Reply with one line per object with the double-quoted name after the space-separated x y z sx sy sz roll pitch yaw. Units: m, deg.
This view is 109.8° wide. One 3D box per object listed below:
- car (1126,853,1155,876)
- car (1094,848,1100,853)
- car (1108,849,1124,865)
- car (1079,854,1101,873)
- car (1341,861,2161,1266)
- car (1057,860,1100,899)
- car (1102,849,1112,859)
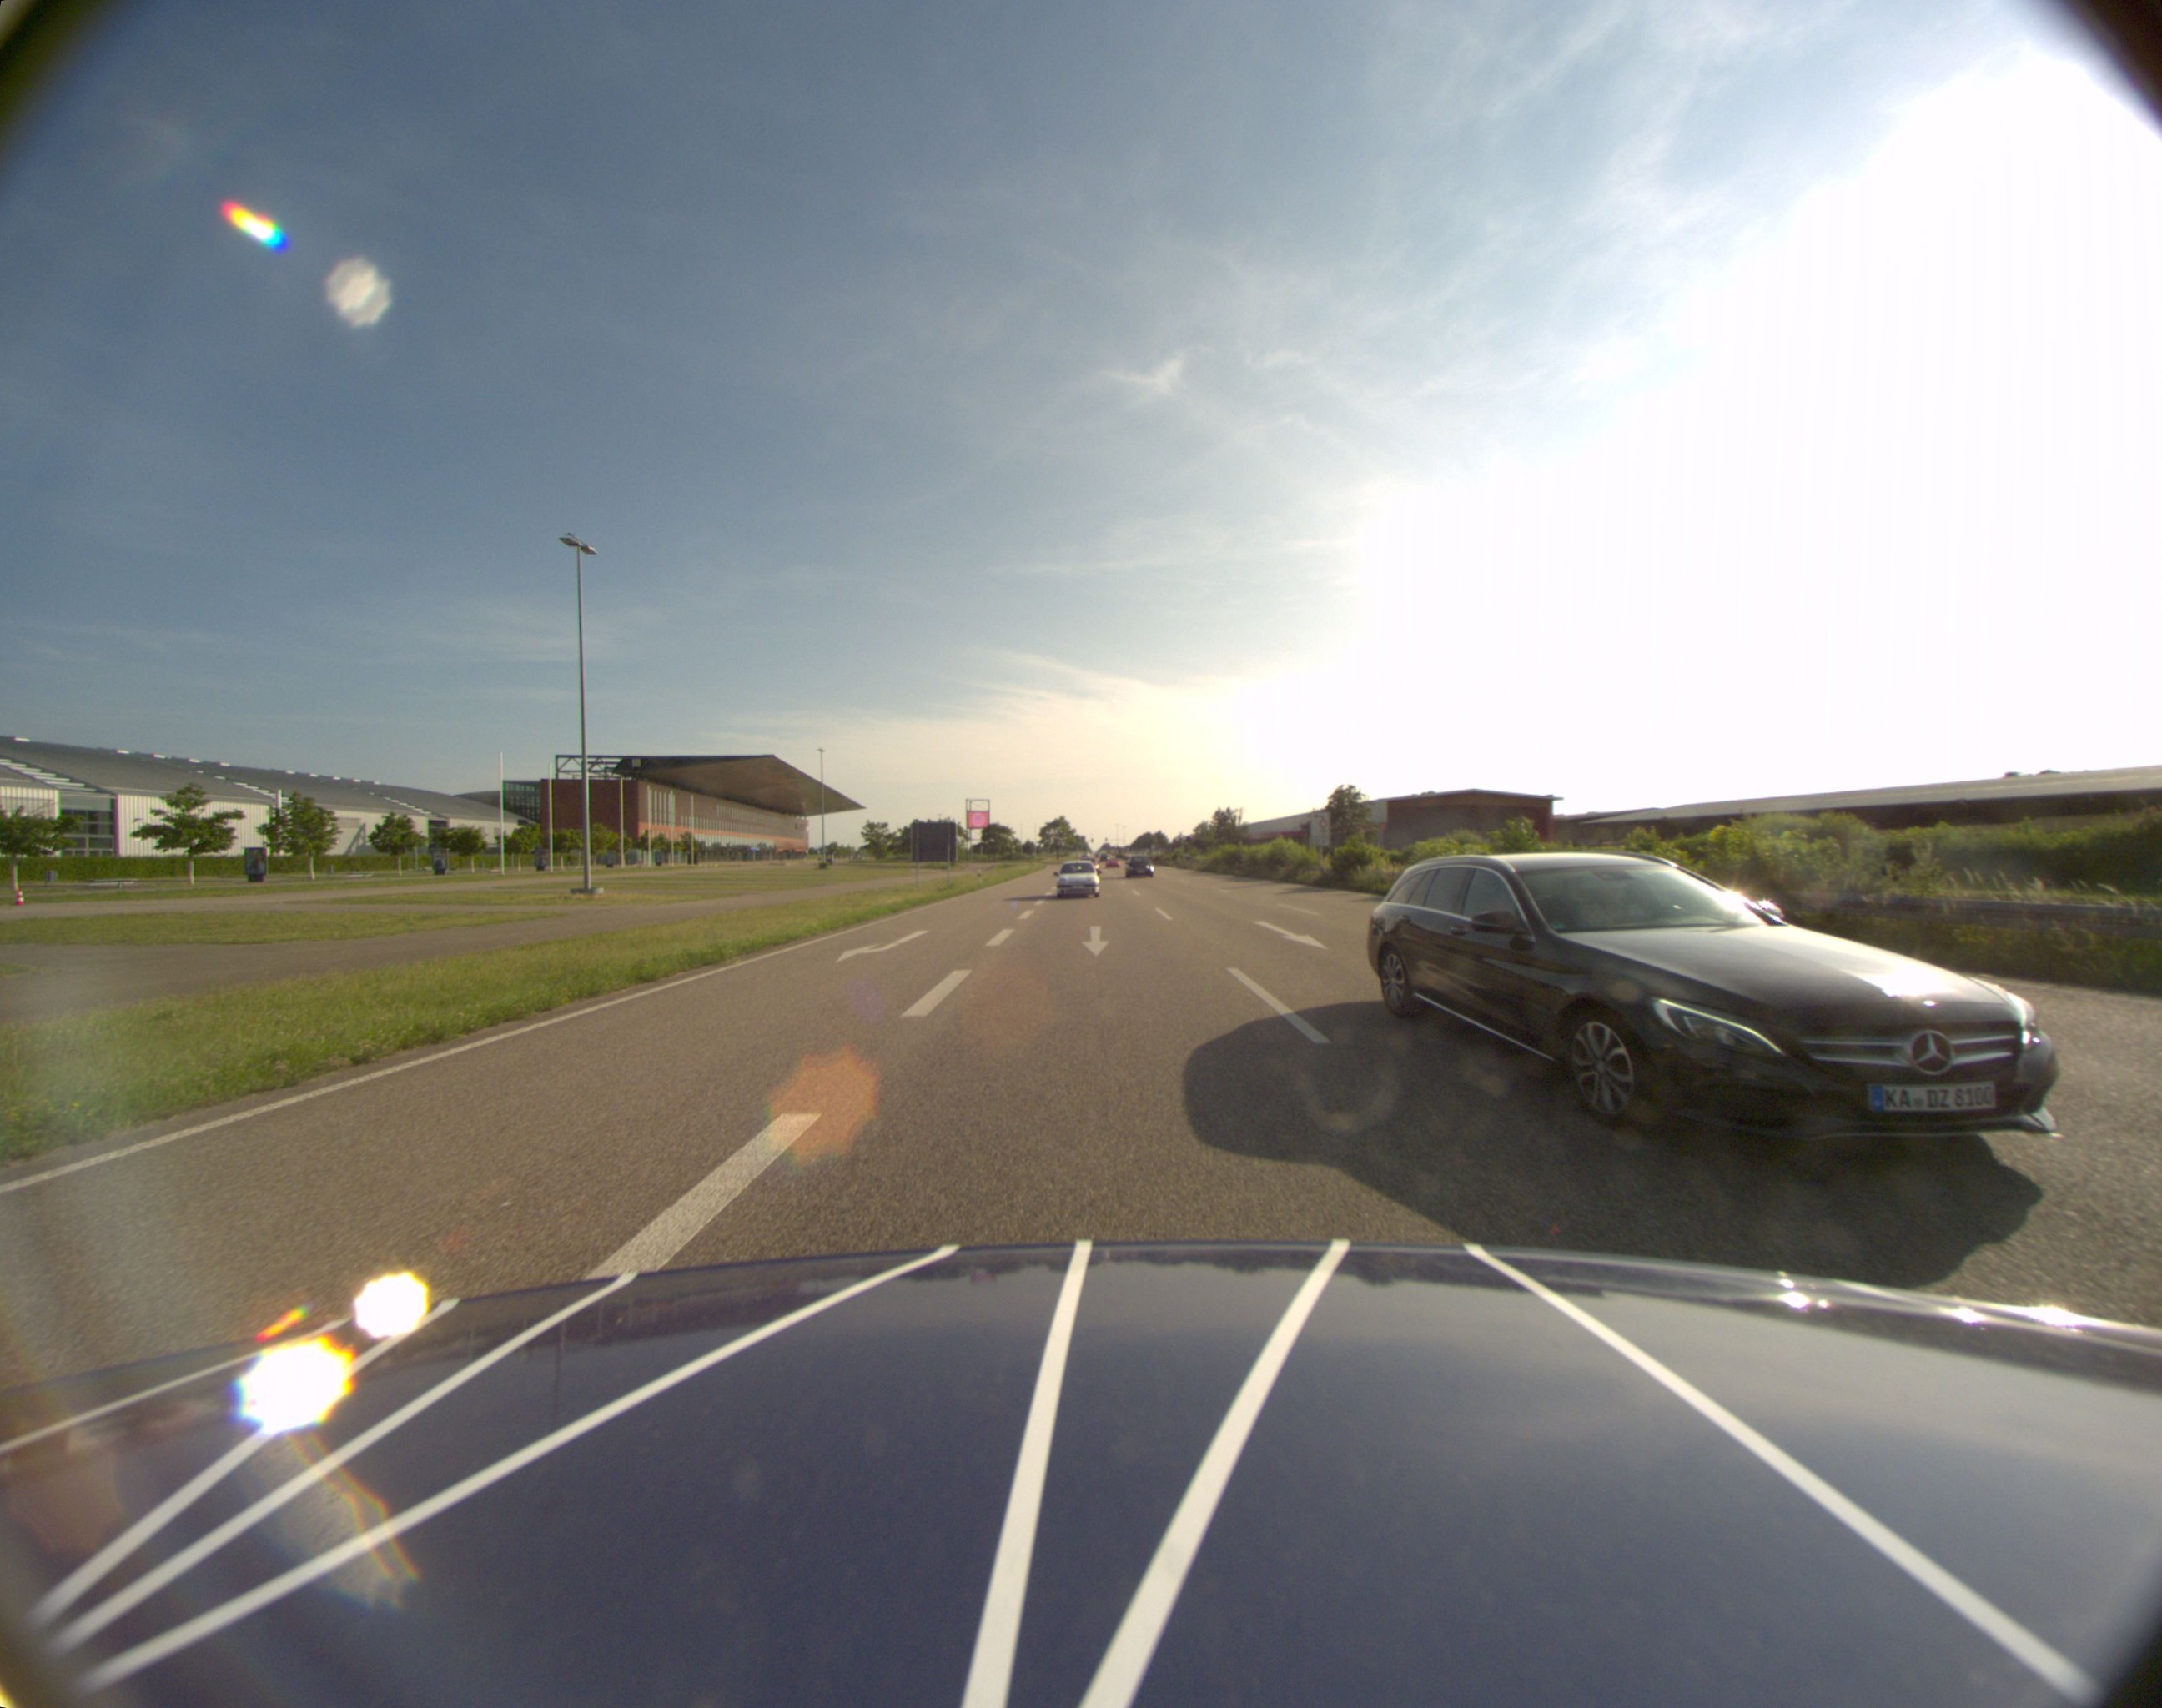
4.112 0.716 52.840 1.758 1.499 3.422 -1 0 0 "car"
5.129 -1.060 240.377 1.998 1.674 4.000 -1 1 1 "car"
4.370 0.369 95.909 1.799 1.926 4.000 -1 1 1 "car"
0.776 0.803 65.181 1.751 1.512 3.739 -1 0 1 "car"
3.477 0.843 5.447 1.576 1.462 5.022 -1 0 1 "car"
-0.062 0.949 30.024 1.578 1.371 3.452 -1 0 1 "car"
5.124 -0.030 150.911 1.998 2.002 4.000 -1 1 1 "car"
